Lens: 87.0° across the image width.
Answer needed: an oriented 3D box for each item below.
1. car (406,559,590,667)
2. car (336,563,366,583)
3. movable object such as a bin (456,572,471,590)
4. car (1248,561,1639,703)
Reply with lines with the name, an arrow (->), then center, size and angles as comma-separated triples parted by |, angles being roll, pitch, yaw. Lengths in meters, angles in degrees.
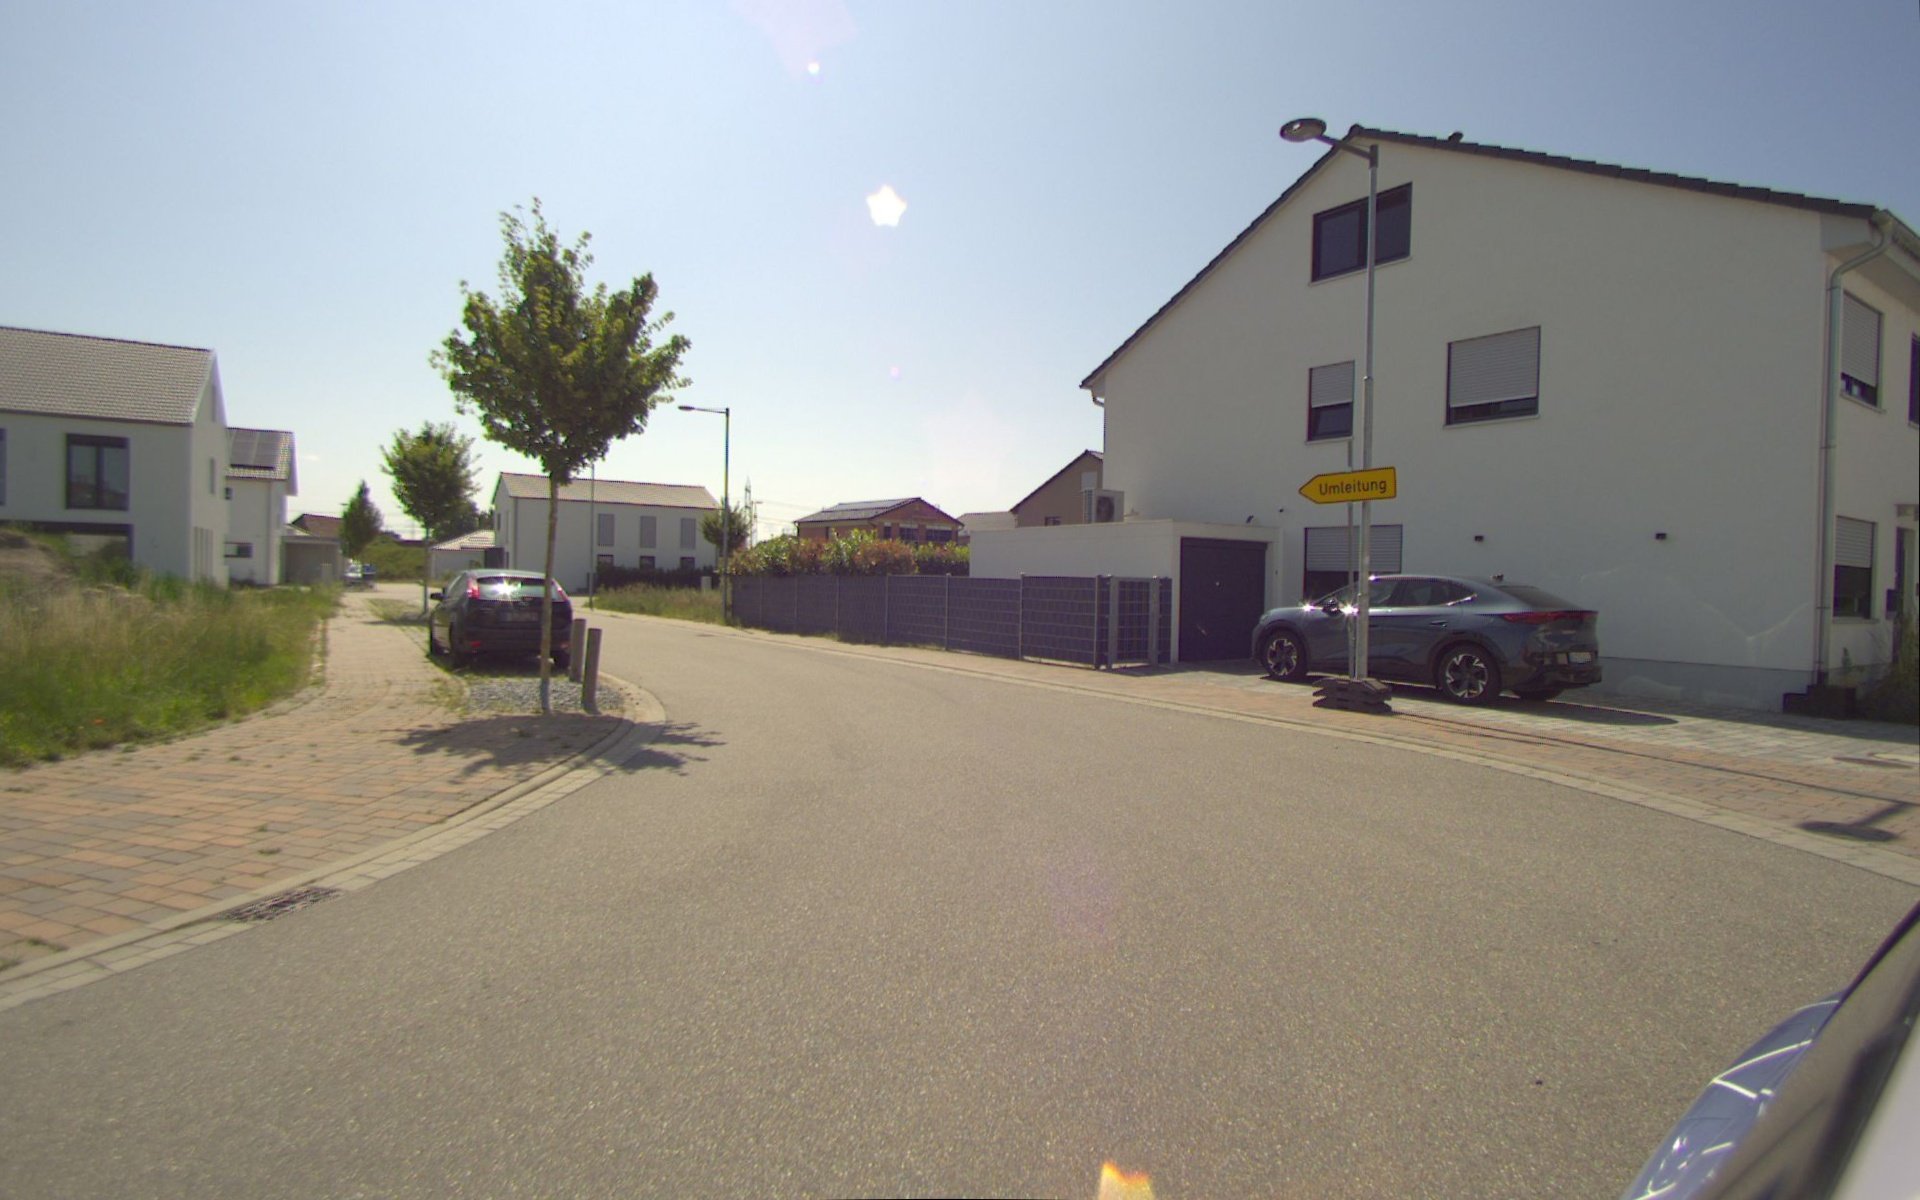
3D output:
car -> -7.604, 0.128, 16.426 | 1.816, 1.512, 4.191 | -1, 2, -38
car -> -45.824, -2.012, 76.095 | 1.888, 1.438, 4.425 | 0, 1, -32
movable object such as a bin -> -31.964, -1.234, 65.112 | 0.792, 1.112, 0.673 | 1, 1, -31
car -> 6.246, 0.308, 13.597 | 1.922, 1.577, 4.353 | 1, 1, -33
